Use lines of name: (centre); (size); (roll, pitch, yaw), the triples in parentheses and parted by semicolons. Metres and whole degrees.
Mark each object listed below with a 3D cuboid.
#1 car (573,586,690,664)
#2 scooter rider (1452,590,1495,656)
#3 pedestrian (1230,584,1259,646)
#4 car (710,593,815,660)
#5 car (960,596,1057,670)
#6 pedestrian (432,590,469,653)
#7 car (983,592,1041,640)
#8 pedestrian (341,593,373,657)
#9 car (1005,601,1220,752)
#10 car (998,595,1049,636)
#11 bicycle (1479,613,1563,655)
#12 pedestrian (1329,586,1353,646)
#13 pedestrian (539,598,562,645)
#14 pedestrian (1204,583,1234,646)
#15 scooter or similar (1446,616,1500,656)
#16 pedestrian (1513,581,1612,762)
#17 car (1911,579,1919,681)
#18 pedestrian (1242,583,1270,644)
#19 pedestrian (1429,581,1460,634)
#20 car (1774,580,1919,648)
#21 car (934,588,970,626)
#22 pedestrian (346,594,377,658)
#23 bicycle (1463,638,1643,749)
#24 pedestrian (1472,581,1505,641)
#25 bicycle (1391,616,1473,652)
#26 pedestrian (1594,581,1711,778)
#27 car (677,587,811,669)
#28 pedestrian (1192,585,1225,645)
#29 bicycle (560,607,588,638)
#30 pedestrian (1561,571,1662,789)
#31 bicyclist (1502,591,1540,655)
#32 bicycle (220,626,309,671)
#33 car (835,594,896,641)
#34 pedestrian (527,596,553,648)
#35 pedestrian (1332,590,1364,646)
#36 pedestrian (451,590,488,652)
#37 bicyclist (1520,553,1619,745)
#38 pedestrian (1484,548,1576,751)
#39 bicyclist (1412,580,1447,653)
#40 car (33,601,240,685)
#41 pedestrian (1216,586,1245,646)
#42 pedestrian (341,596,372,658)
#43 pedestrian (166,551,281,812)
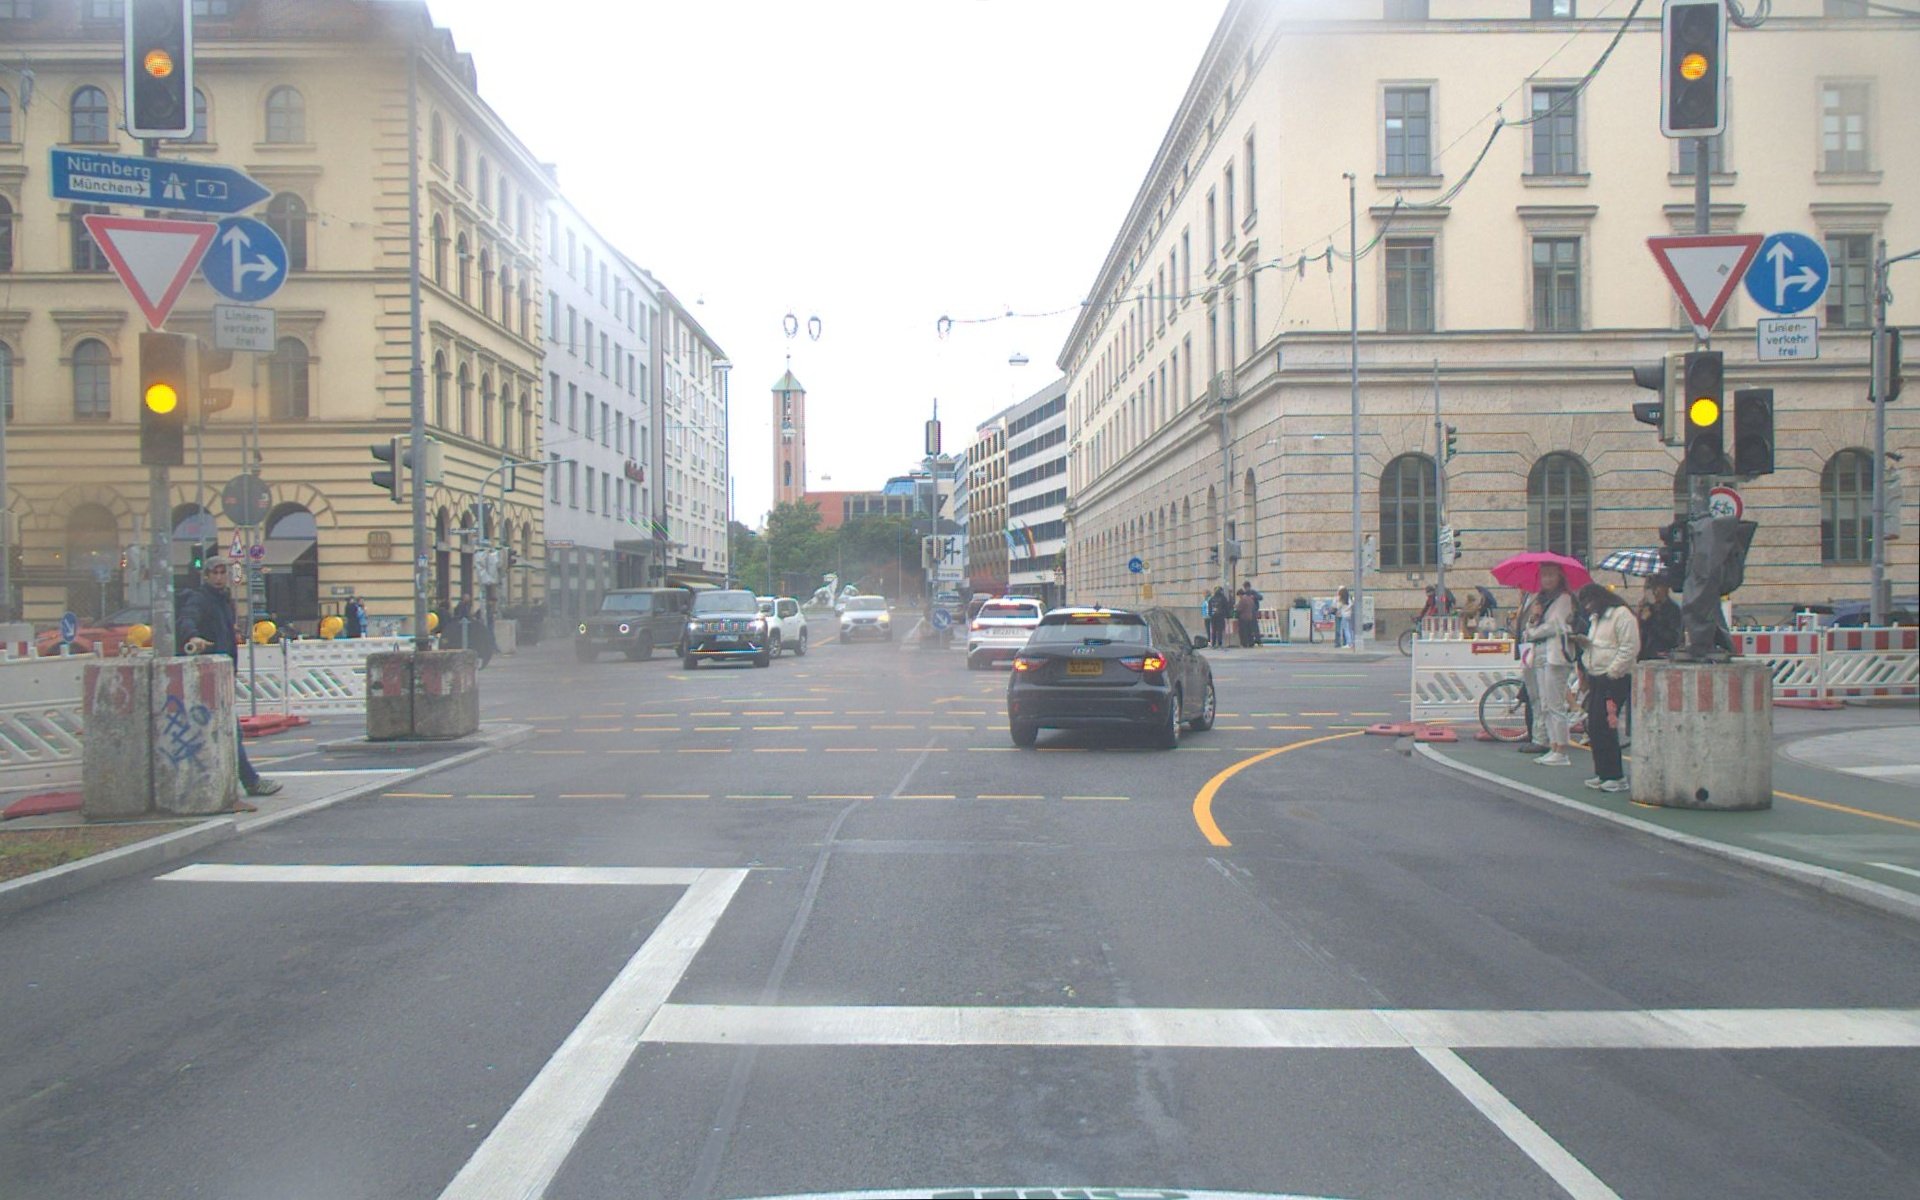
car: (-9.170, 0.660, 46.529); (2.191, 2.049, 4.451); (-1, 0, 2)
scooter rider: (13.015, 0.586, 41.931); (0.913, 1.651, 0.592); (0, 0, 0)
pedestrian: (8.319, 0.422, 48.363); (0.573, 1.786, 0.818); (0, 0, 30)
car: (-5.379, 0.691, 45.545); (1.755, 1.707, 4.236); (-1, 0, 9)
car: (1.095, 0.655, 35.189); (1.775, 1.449, 4.455); (1, 0, 5)
pedestrian: (-14.648, 0.616, 47.564); (0.718, 1.803, 0.761); (0, 0, 20)
car: (1.818, 0.539, 58.536); (1.827, 1.629, 3.850); (-1, 0, -2)
pedestrian: (-16.975, 0.696, 46.566); (0.720, 1.803, 0.737); (0, 0, -11)
car: (1.765, 0.727, 17.874); (1.823, 1.412, 4.003); (0, 0, 13)
car: (2.580, 0.607, 67.757); (1.827, 1.629, 3.850); (-1, 0, -2)
bicycle: (14.561, 0.878, 42.960); (1.917, 1.058, 0.795); (0, 0, 1)
pedestrian: (10.942, 0.447, 47.460); (0.603, 1.701, 0.542); (0, 0, 7)
pedestrian: (-15.991, 0.830, 64.578); (0.722, 1.803, 0.736); (0, 0, -2)
pedestrian: (7.505, 0.418, 47.911); (0.800, 1.786, 0.680); (0, 0, 15)
scooter or similar: (13.009, 0.911, 41.929); (1.186, 0.982, 0.588); (0, 0, 0)
pedestrian: (5.397, 0.628, 14.833); (0.688, 1.594, 0.541); (0, 0, 1)
car: (17.361, 0.500, 25.934); (3.905, 1.645, 1.774); (0, 0, -1)
pedestrian: (8.799, 0.399, 49.147); (0.573, 1.786, 0.818); (0, 0, 30)
pedestrian: (14.258, 0.211, 48.721); (0.651, 1.554, 0.819); (0, 0, -2)
car: (19.760, 0.310, 35.071); (4.141, 1.413, 1.749); (0, -1, -2)
car: (-0.486, 0.372, 93.100); (1.953, 2.049, 3.999); (-1, 0, -2)
pedestrian: (-17.111, 0.729, 47.300); (0.720, 1.803, 0.737); (0, 0, -11)
bicycle: (6.014, 0.921, 16.811); (1.627, 1.029, 0.583); (1, 0, 42)
pedestrian: (15.353, 0.321, 48.039); (0.700, 1.723, 0.820); (0, 0, 0)
bicycle: (12.270, 0.889, 43.010); (1.931, 0.895, 0.662); (0, 0, 1)
pedestrian: (5.763, 0.644, 13.793); (0.688, 1.594, 0.682); (0, 0, 1)
car: (-4.907, 0.600, 38.219); (1.952, 1.765, 4.589); (-1, 0, 7)
pedestrian: (7.447, 0.438, 49.530); (0.809, 1.786, 0.579); (0, 0, -32)
bicycle: (-16.144, 0.940, 69.254); (0.586, 1.264, 2.199); (0, 0, 1)
pedestrian: (5.058, 0.604, 12.870); (0.520, 1.648, 0.674); (0, 0, 1)
bicyclist: (14.564, 0.586, 42.955); (0.728, 1.643, 0.795); (0, 0, 2)
bicycle: (-18.488, 1.276, 43.963); (2.164, 1.118, 0.595); (-1, 0, -26)
car: (-3.264, 0.591, 57.761); (1.953, 1.550, 4.231); (-1, 0, -2)
pedestrian: (-14.603, 0.760, 57.493); (0.722, 1.803, 0.736); (0, 0, -2)
pedestrian: (10.947, 0.501, 46.727); (0.800, 1.584, 0.667); (0, 0, 7)
pedestrian: (-14.314, 0.603, 48.296); (0.718, 1.803, 0.739); (0, 0, 20)
bicyclist: (6.147, 0.475, 16.694); (0.785, 1.886, 0.564); (0, 0, 41)
pedestrian: (5.514, 0.470, 16.019); (0.688, 1.918, 0.641); (0, 0, 4)
bicyclist: (12.194, 0.418, 43.012); (0.728, 1.874, 0.661); (0, 0, 2)
car: (-18.235, 0.921, 36.819); (3.930, 1.750, 1.812); (-1, 0, -22)
pedestrian: (8.225, 0.476, 50.259); (0.800, 1.786, 0.586); (0, 0, 13)
pedestrian: (-17.508, 0.776, 47.988); (0.721, 1.803, 0.737); (0, 0, -12)
pedestrian: (-5.238, 0.549, 11.809); (0.503, 1.773, 1.040); (0, 0, -11)
